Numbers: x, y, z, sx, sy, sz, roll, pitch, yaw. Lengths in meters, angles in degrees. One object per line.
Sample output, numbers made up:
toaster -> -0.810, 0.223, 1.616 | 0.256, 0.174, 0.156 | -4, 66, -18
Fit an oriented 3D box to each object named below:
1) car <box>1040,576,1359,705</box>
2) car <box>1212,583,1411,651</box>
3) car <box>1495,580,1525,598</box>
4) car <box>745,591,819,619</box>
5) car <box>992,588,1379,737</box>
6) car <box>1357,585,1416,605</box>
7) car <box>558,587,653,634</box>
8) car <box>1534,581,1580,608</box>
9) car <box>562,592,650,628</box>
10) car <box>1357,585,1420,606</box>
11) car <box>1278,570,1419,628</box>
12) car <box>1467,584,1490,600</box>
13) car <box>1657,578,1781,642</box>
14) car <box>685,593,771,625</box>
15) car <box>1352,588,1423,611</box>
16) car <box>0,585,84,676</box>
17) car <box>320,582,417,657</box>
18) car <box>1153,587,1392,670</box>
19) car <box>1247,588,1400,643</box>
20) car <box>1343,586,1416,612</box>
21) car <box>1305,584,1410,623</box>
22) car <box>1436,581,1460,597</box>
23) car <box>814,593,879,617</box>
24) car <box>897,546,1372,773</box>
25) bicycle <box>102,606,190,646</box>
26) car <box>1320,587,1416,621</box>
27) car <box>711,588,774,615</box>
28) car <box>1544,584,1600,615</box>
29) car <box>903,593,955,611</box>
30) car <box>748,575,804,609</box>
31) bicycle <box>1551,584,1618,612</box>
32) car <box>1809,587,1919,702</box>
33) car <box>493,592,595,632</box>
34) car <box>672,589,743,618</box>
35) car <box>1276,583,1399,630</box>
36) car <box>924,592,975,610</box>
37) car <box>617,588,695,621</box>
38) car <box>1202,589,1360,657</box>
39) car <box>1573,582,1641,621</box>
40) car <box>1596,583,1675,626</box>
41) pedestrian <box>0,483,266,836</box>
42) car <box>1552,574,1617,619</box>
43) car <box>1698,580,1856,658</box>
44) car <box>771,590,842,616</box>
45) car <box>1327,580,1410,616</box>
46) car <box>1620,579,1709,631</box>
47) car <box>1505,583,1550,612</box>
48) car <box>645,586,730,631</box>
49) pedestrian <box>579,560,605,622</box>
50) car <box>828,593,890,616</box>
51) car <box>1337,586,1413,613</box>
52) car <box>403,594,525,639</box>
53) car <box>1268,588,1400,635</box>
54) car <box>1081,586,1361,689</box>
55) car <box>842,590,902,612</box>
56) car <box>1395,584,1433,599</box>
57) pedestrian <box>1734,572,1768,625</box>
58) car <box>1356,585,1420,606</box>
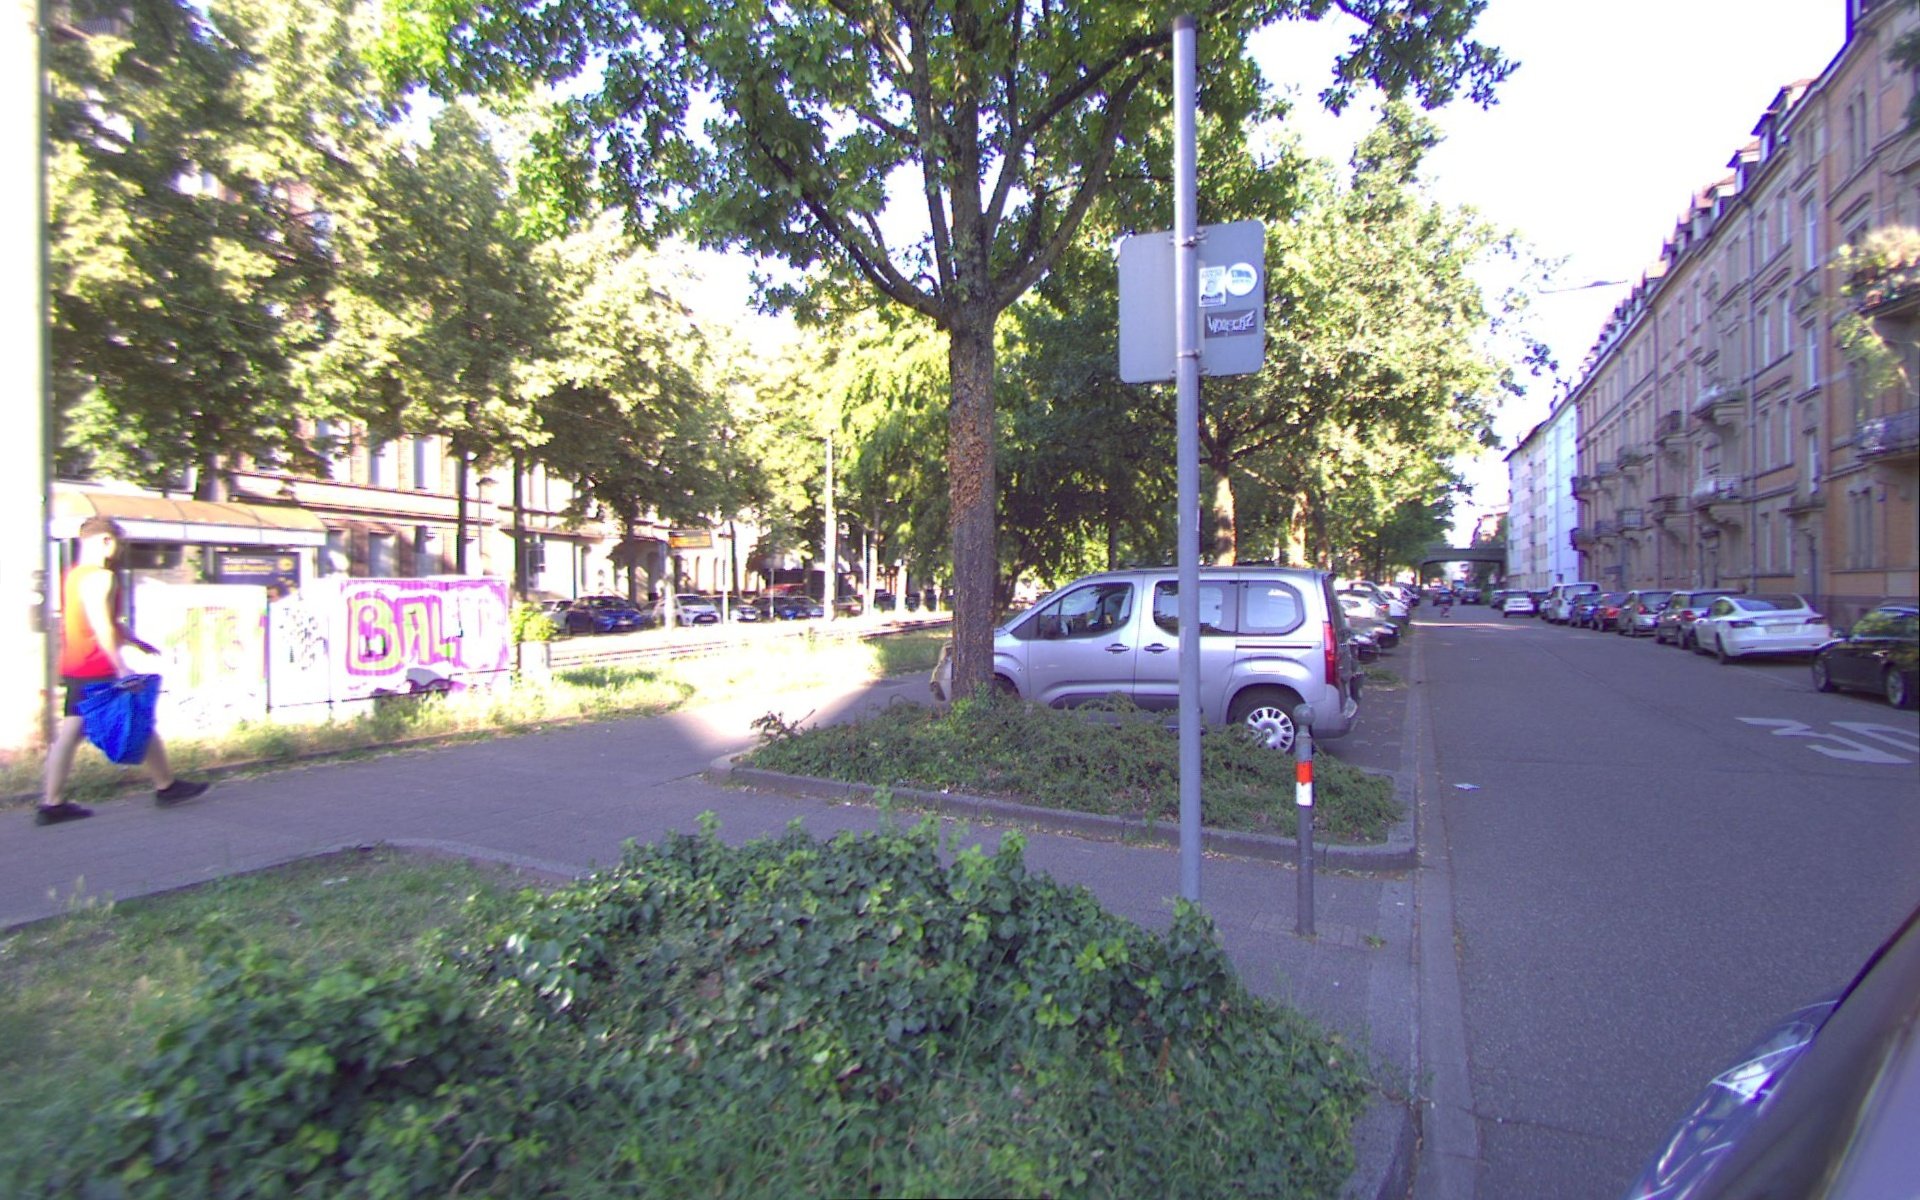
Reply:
car -> 3.578, 0.535, 15.203 | 4.394, 1.712, 1.938 | -1, 1, 21
car -> 9.137, 0.408, 26.370 | 4.672, 1.592, 1.981 | 0, 1, 28
car -> 47.050, -0.950, 86.656 | 1.862, 1.460, 4.355 | -3, -1, 25
car -> -8.777, 0.224, 49.752 | 1.719, 1.295, 3.991 | -1, 1, -43
car -> 2.861, 0.688, 13.012 | 4.511, 1.592, 1.931 | 0, 1, 28
car -> 32.855, -0.394, 78.006 | 4.092, 1.507, 1.669 | 0, 1, 26
car -> -12.403, 0.321, 35.278 | 1.777, 1.506, 4.277 | 0, 1, -40
car -> 35.286, -0.340, 59.932 | 1.862, 1.460, 4.355 | -3, -1, 25
car -> -16.494, 0.410, 47.403 | 1.970, 1.587, 4.226 | 0, 1, 13
car -> 31.959, -0.360, 75.502 | 4.223, 1.507, 1.669 | 0, 1, 26
car -> 14.512, -0.069, 37.822 | 4.811, 2.064, 2.136 | 0, 1, 26
car -> 52.103, -0.827, 101.723 | 1.862, 1.460, 4.355 | -3, -1, 25
car -> 19.793, 0.232, 26.559 | 1.670, 1.494, 3.851 | -3, -1, 23
car -> -10.062, 0.354, 43.758 | 1.779, 1.295, 4.273 | -1, 1, -42
car -> 26.096, -0.066, 61.825 | 3.960, 1.355, 1.669 | 0, 1, 26
car -> -17.352, 0.481, 18.498 | 1.897, 1.506, 4.543 | 0, 1, -43
car -> -15.255, 0.416, 25.990 | 1.892, 1.743, 4.554 | 0, 1, -34
car -> 6.727, 0.563, 21.889 | 4.672, 1.592, 1.981 | 0, 1, 28
car -> 10.336, 0.394, 28.768 | 3.960, 1.479, 1.669 | 0, 1, 26
car -> 24.899, -0.093, 60.079 | 3.960, 1.507, 1.669 | 0, 1, 26
car -> 16.372, 0.118, 41.692 | 3.960, 1.573, 1.669 | 0, 1, 26
car -> 47.678, -1.084, 98.867 | 1.861, 1.449, 4.357 | -3, -1, 24
car -> -6.623, 0.272, 58.593 | 1.719, 1.295, 3.991 | -1, 1, -43
car -> 1.770, 0.488, 10.555 | 4.511, 1.938, 1.931 | 0, 1, 28
bicycle -> -24.983, 0.772, 31.089 | 0.680, 1.130, 2.063 | -1, 0, 44
car -> 18.640, 0.157, 46.224 | 3.960, 1.507, 1.669 | 0, 1, 26
car -> -13.194, 0.076, 61.736 | 1.970, 1.587, 4.593 | 0, 1, 14
car -> 31.198, -0.060, 51.700 | 1.862, 1.460, 4.355 | -3, -1, 25
car -> -2.332, 0.141, 75.681 | 1.719, 1.295, 3.991 | -1, 1, -43
car -> -12.021, -0.543, 66.514 | 1.970, 2.200, 4.593 | 0, 1, 14
bicycle -> 33.897, -0.102, 54.995 | 3.015, 1.503, 0.810 | 0, 0, 27
car -> 14.094, 0.570, 14.496 | 1.762, 1.452, 4.236 | -3, -1, 24
car -> -17.661, 0.463, 43.186 | 1.970, 1.587, 4.226 | 0, 1, 13
car -> -14.189, 0.153, 57.132 | 1.970, 1.587, 4.593 | 0, 1, 14
car -> 13.231, 0.196, 35.484 | 3.956, 1.600, 1.752 | 0, 1, 24
car -> -0.828, 0.079, 77.401 | 1.719, 1.295, 3.991 | -1, 1, -43
car -> -15.471, 0.203, 51.751 | 1.970, 1.587, 4.401 | 0, 1, 13
car -> 7.712, 0.515, 24.347 | 3.378, 1.533, 1.702 | 0, 0, 28
car -> 26.448, 0.056, 41.470 | 1.750, 1.456, 3.855 | -3, -1, 25
car -> 24.503, 0.128, 36.839 | 1.751, 1.401, 4.251 | -3, -1, 26
pedestrian -> -5.188, 0.327, 6.286 | 0.896, 1.943, 1.140 | -1, 0, 26
car -> 28.682, -0.186, 46.593 | 1.893, 1.907, 4.685 | -3, -1, 25
car -> 17.615, 0.364, 22.038 | 1.764, 1.494, 4.230 | -3, -1, 27
car -> -7.992, 0.137, 52.440 | 1.719, 1.295, 3.991 | -1, 1, -43
car -> 21.401, -0.132, 53.042 | 3.960, 1.855, 1.669 | 0, 1, 26
car -> 22.276, 0.141, 32.132 | 1.672, 1.494, 3.676 | -3, -1, 26
car -> 32.476, -0.158, 58.015 | 1.862, 1.556, 4.355 | -3, -1, 25
car -> -11.197, 0.292, 41.375 | 1.777, 1.716, 4.277 | 0, 1, -40
pedestrian -> -17.761, -0.420, 48.889 | 0.907, 2.984, 0.697 | -1, 0, 14
car -> -6.155, 0.261, 61.658 | 1.719, 1.295, 3.991 | -1, 1, -43
car -> 23.751, -0.048, 57.909 | 3.960, 1.507, 1.669 | 0, 1, 26
car -> -18.763, 0.577, 38.507 | 1.970, 1.587, 4.226 | 0, 1, 13
car -> 12.322, 0.339, 33.374 | 3.960, 1.441, 1.669 | 0, 1, 26
car -> 4.606, 0.589, 17.976 | 4.511, 1.592, 1.931 | 0, 1, 28
car -> -5.601, 0.045, 64.105 | 1.719, 1.295, 3.991 | -1, 1, -43
car -> 57.622, -1.090, 128.391 | 4.347, 1.707, 1.866 | -3, -1, 26
pedestrian -> 26.493, -0.060, 33.916 | 0.668, 1.740, 0.716 | -3, -1, 26
car -> 31.032, -0.325, 73.412 | 4.223, 1.507, 1.669 | 0, 1, 26
